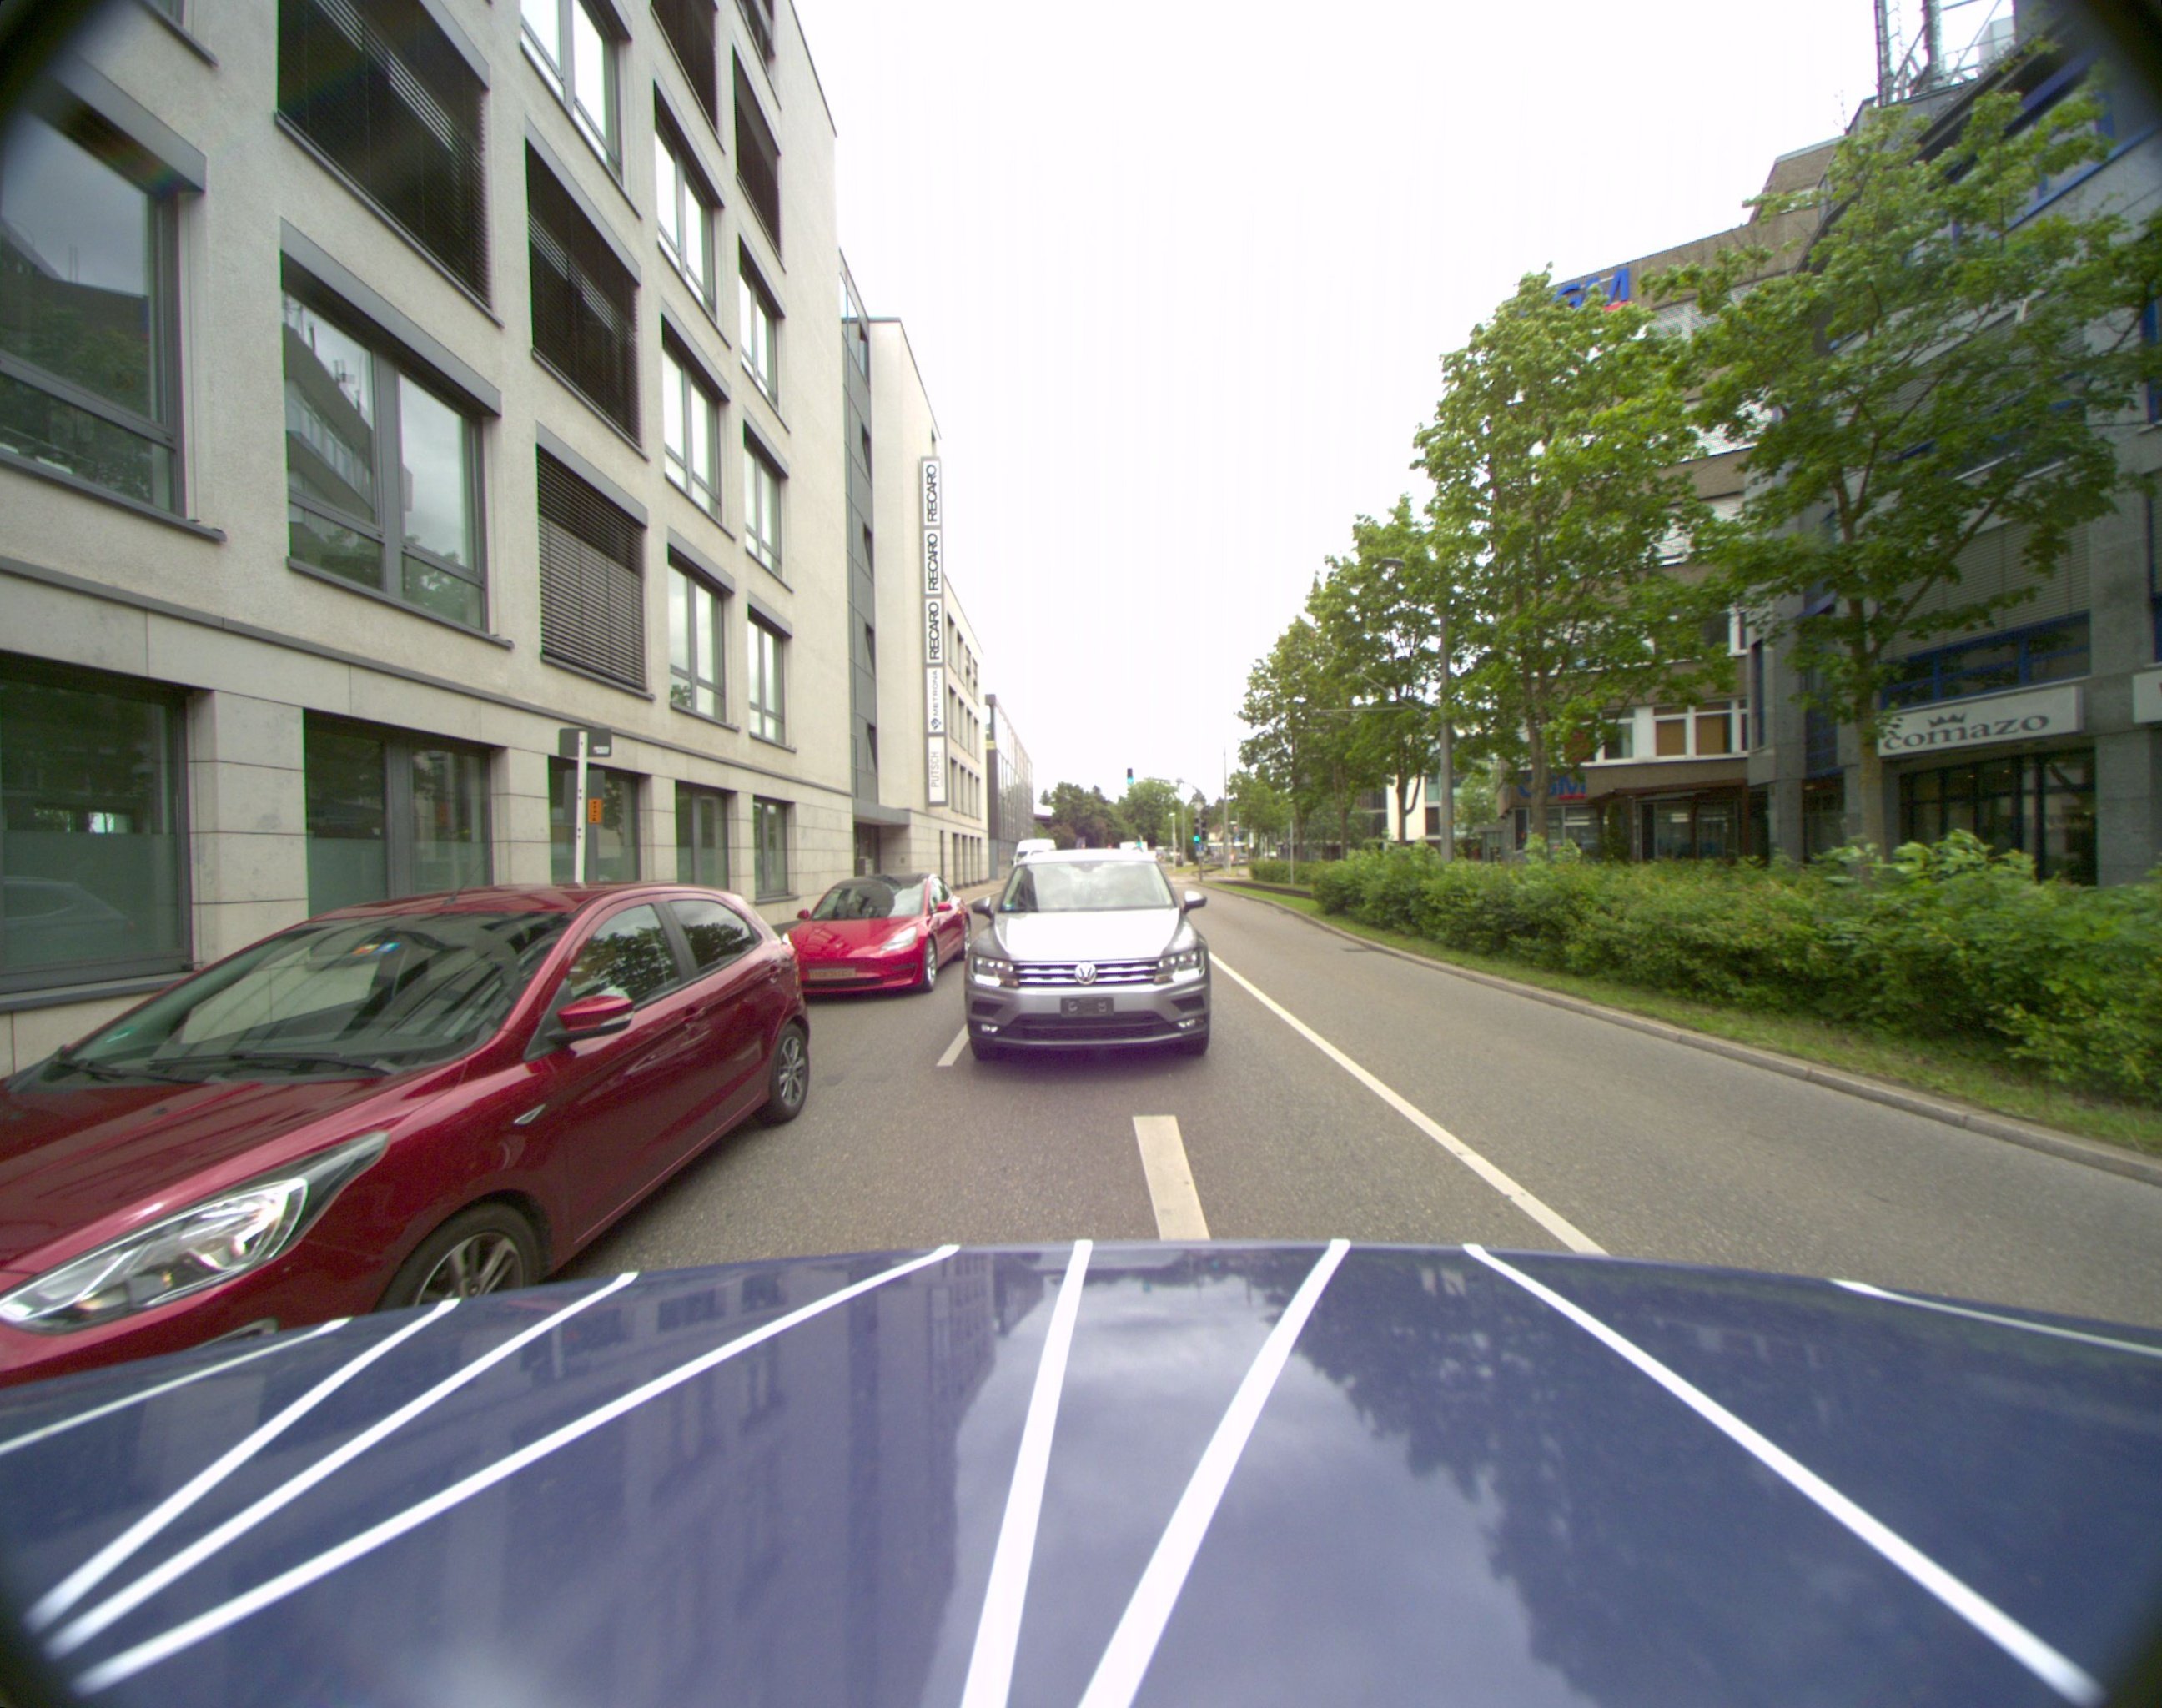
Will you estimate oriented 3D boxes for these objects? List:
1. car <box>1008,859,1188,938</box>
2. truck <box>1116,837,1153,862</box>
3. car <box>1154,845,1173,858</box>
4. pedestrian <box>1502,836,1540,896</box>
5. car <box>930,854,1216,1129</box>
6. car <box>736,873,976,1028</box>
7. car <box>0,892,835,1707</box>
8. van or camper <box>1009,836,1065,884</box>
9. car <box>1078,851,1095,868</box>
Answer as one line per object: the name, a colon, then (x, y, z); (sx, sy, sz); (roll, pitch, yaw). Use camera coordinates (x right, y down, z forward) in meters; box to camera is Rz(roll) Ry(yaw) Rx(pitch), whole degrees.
car: (0.426, 0.942, 17.406); (3.739, 1.449, 1.742); (-3, 0, -34)
truck: (8.302, -0.677, 116.772); (2.317, 3.626, 8.024); (-1, 1, 31)
car: (13.922, -0.382, 127.969); (1.995, 2.002, 4.006); (-1, 1, 24)
pedestrian: (13.567, 0.370, 23.447); (0.680, 1.795, 0.731); (-2, 1, -4)
car: (-0.017, 0.885, 7.097); (1.798, 1.716, 4.458); (-1, 0, 1)
car: (-2.698, 1.081, 10.286); (1.825, 1.449, 4.408); (-3, 0, 1)
car: (-2.675, 1.049, 3.139); (1.890, 1.483, 4.000); (-4, 0, 1)
van or camper: (-2.575, 0.281, 46.663); (2.111, 2.718, 6.155); (-2, 1, 9)
car: (0.716, 0.660, 96.245); (1.998, 2.002, 4.000); (-2, 1, 1)
